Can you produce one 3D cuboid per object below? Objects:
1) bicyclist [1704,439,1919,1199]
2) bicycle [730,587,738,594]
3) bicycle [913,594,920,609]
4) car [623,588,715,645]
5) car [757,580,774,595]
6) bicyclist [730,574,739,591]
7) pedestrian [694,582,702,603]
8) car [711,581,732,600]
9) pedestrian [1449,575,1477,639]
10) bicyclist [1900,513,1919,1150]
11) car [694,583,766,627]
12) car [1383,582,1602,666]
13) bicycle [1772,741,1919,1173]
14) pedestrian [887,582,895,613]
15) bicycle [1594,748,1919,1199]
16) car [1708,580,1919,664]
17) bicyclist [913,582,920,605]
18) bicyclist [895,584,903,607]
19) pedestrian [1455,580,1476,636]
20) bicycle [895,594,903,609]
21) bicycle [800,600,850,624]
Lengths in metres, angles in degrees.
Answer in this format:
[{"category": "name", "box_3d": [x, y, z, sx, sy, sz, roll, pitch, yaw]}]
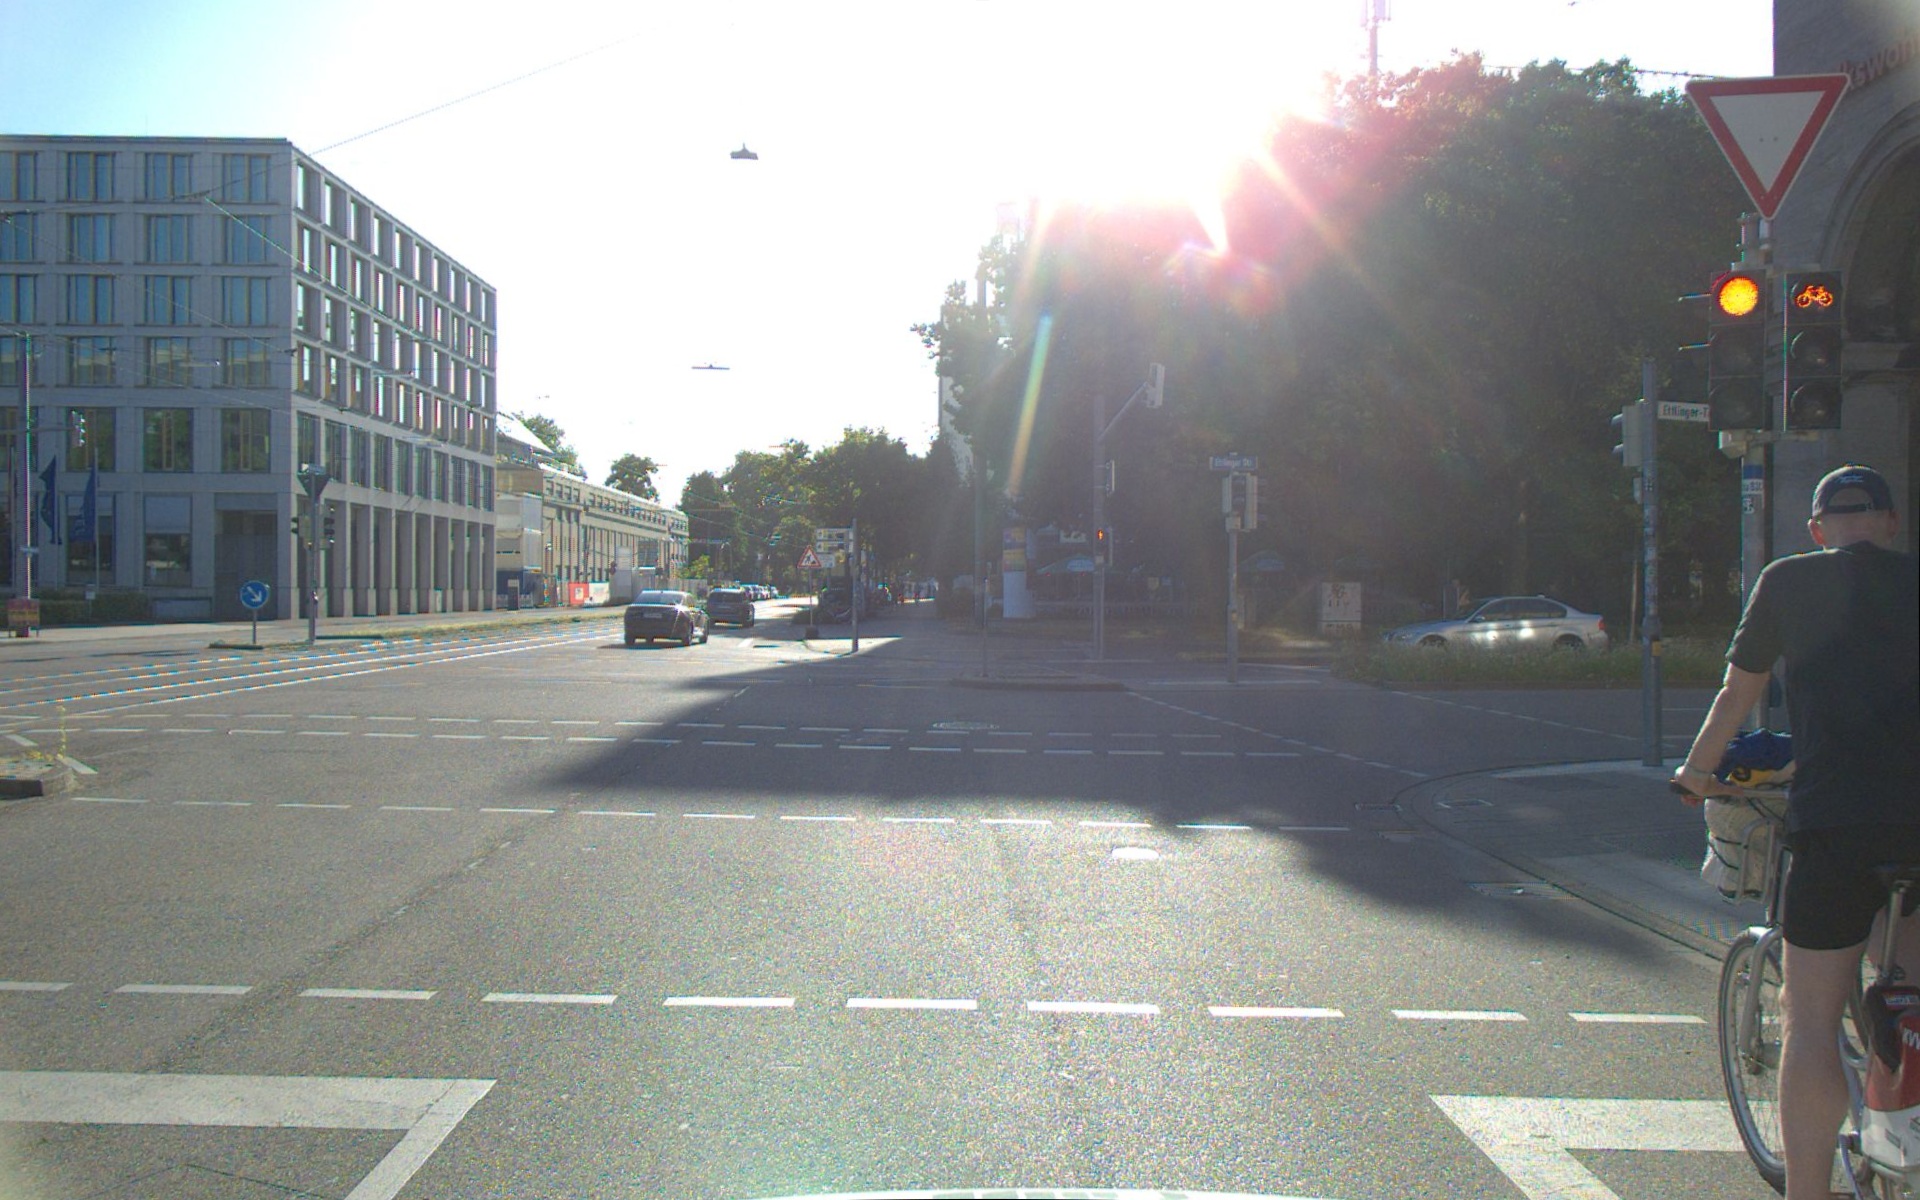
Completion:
[{"category": "bicyclist", "box_3d": [2.091, 0.580, 3.750, 0.547, 1.830, 0.550, 1, 0, 1]}, {"category": "bicycle", "box_3d": [-18.267, -0.761, 133.829, 0.491, 0.524, 1.257, 1, 0, -2]}, {"category": "bicycle", "box_3d": [-3.225, 0.105, 122.484, 0.563, 1.096, 1.830, 0, 0, -1]}, {"category": "car", "box_3d": [-8.036, 0.434, 45.983, 1.625, 1.481, 4.433, 1, 0, 2]}, {"category": "car", "box_3d": [-22.858, -1.451, 194.376, 1.659, 1.748, 4.244, 1, 0, -4]}, {"category": "bicyclist", "box_3d": [-18.259, -1.430, 133.871, 0.584, 1.401, 0.637, 1, -1, -2]}, {"category": "pedestrian", "box_3d": [-25.358, -0.738, 160.240, 0.660, 2.049, 0.751, 1, -1, -3]}, {"category": "car", "box_3d": [-22.494, -0.910, 156.127, 1.659, 1.748, 4.244, 1, 0, -4]}, {"category": "pedestrian", "box_3d": [13.486, 0.184, 44.342, 0.571, 1.692, 0.514, 1, 1, 1]}, {"category": "bicyclist", "box_3d": [2.884, 0.629, 4.249, 0.546, 1.721, 0.640, 1, 0, -2]}, {"category": "car", "box_3d": [-9.069, 0.187, 65.471, 1.853, 1.592, 4.810, 3, 1, 3]}, {"category": "car", "box_3d": [10.767, 0.474, 33.582, 3.912, 1.639, 1.650, 0, 0, -1]}, {"category": "bicycle", "box_3d": [2.860, 1.002, 4.357, 0.523, 1.096, 1.750, 1, 0, -2]}, {"category": "pedestrian", "box_3d": [-4.090, -0.166, 98.169, 0.454, 1.845, 0.502, 0, 0, -5]}, {"category": "bicycle", "box_3d": [2.072, 0.983, 3.909, 0.505, 1.096, 1.728, 1, 0, 1]}, {"category": "car", "box_3d": [17.474, 0.428, 33.660, 3.770, 1.639, 1.650, 0, 0, -1]}, {"category": "bicyclist", "box_3d": [-3.221, -0.493, 122.524, 0.558, 1.721, 0.699, 0, 0, -1]}, {"category": "bicyclist", "box_3d": [-4.519, -0.356, 122.301, 0.558, 1.721, 0.699, 0, 0, -1]}, {"category": "pedestrian", "box_3d": [13.704, 0.216, 44.843, 0.430, 1.529, 0.437, 0, 0, 0]}, {"category": "bicycle", "box_3d": [-4.515, 0.083, 122.302, 0.563, 1.096, 1.830, 0, 0, -1]}, {"category": "bicycle", "box_3d": [-5.497, 0.502, 67.401, 1.976, 0.907, 0.650, -2, -1, 27]}]
